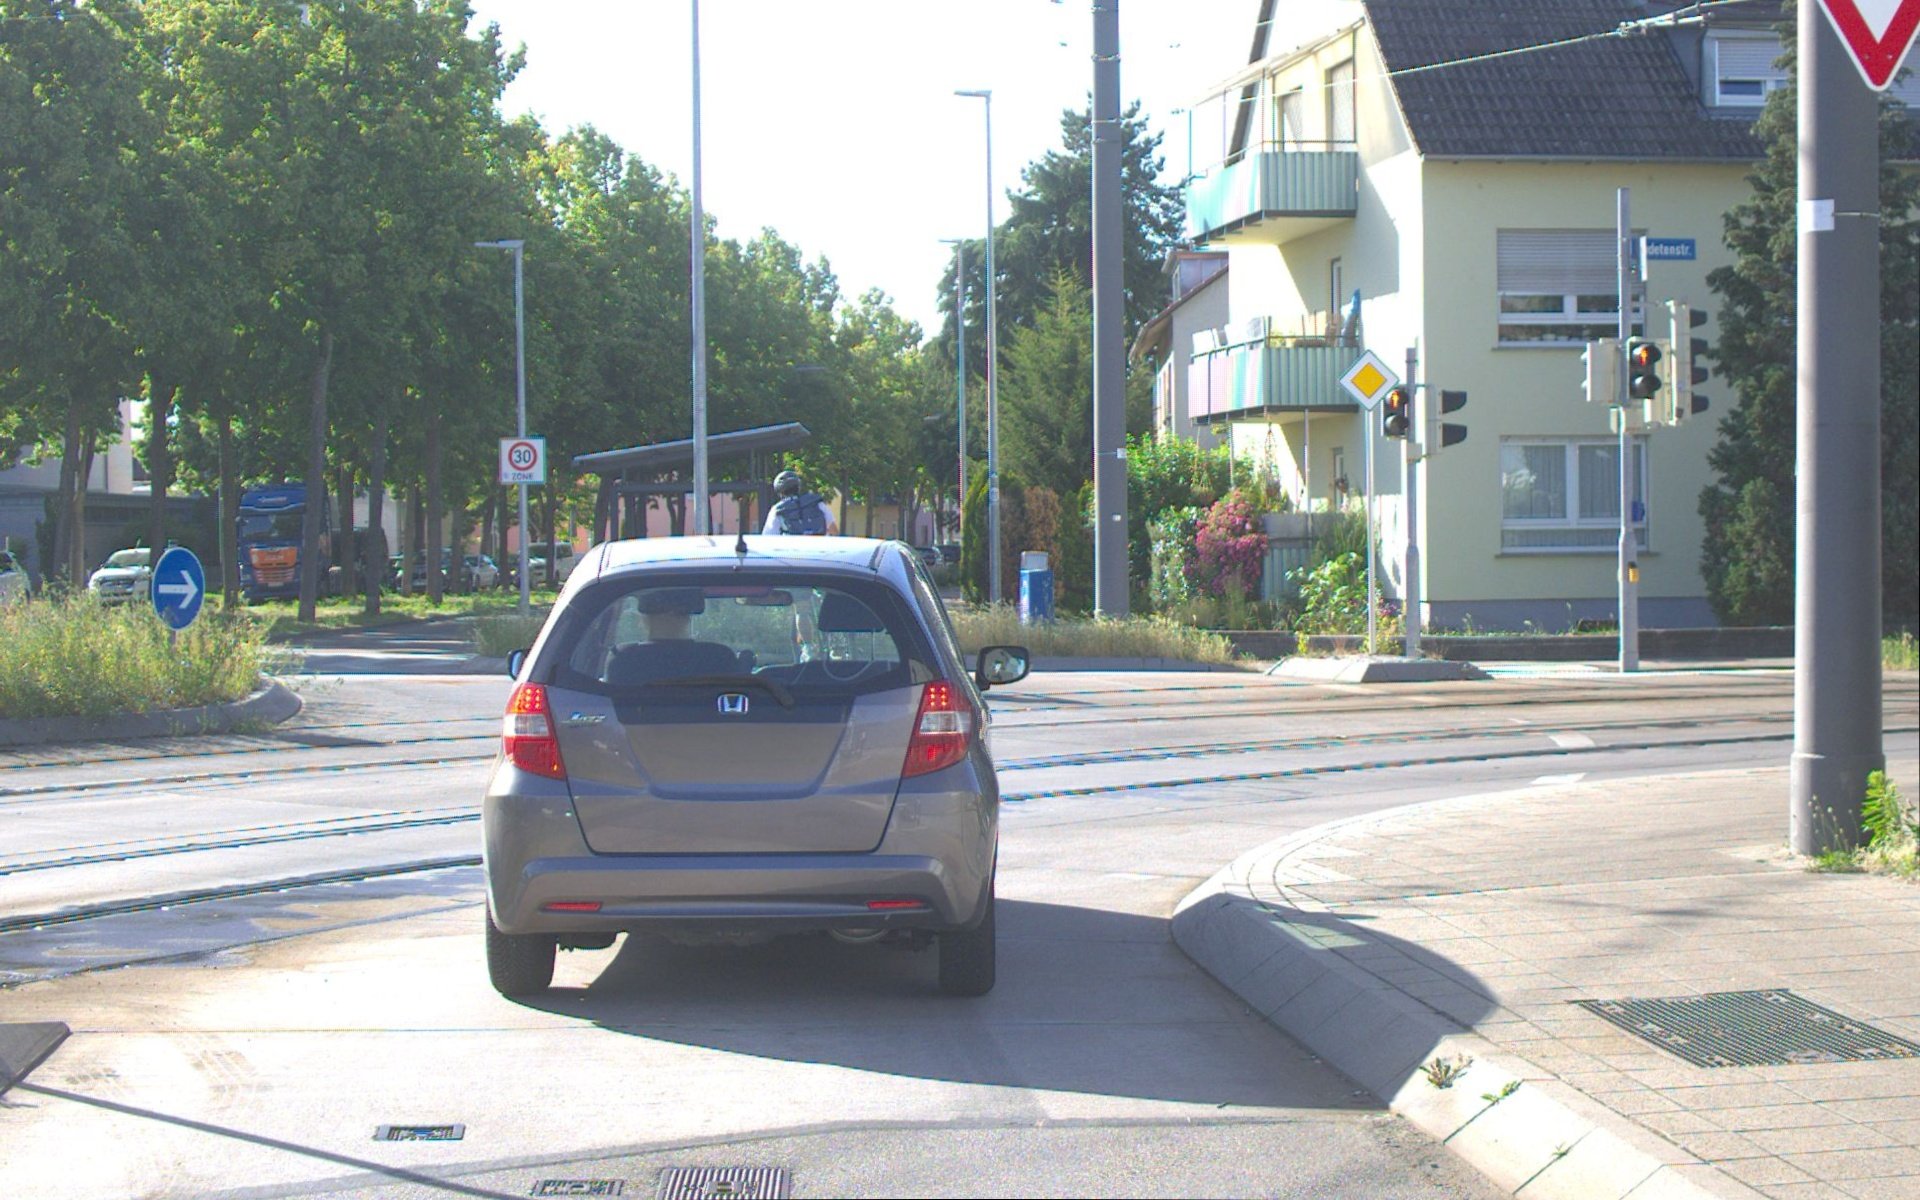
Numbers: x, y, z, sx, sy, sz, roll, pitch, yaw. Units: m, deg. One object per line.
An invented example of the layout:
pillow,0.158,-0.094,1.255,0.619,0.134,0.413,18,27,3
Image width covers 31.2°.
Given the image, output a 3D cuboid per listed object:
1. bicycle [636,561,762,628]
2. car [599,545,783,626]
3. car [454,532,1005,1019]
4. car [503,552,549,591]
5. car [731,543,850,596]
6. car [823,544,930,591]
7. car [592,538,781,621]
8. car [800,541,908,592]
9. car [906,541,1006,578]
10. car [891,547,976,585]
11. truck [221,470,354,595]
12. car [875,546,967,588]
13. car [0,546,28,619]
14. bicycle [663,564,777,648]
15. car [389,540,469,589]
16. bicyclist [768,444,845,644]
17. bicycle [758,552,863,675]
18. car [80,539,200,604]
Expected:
bicycle,-4.156,-0.096,54.811,1.972,1.024,0.696,1,1,-5
car,-5.309,-0.289,68.168,3.516,1.528,1.577,1,1,-1
car,-0.773,0.504,12.541,1.687,1.486,3.915,0,1,-2
car,-18.718,-1.256,148.394,1.647,1.642,3.569,1,1,-2
car,-5.072,-0.918,102.910,3.412,1.528,1.525,-1,1,3
car,-2.772,-1.068,113.526,3.478,1.488,1.552,1,1,-2
car,-5.264,-0.400,66.393,3.516,1.528,1.577,1,1,-1
car,-3.360,-1.057,108.763,3.359,1.528,1.523,1,1,-2
car,-0.142,-1.455,123.029,3.516,1.275,1.578,1,1,-2
car,-1.115,-1.425,143.596,3.516,1.528,1.578,1,1,-2
truck,-22.372,-2.266,114.822,3.069,3.979,8.009,1,1,-2
car,-1.516,-1.285,132.948,3.516,1.528,1.578,1,1,-2
car,-23.360,-0.423,80.581,1.993,1.694,4.219,1,1,-2
bicycle,-3.572,0.087,51.144,1.665,1.203,0.689,1,1,-5
car,-17.992,-1.207,116.625,1.831,1.575,4.440,1,1,2
bicyclist,-1.343,-0.486,30.016,0.603,1.708,0.544,-1,-3,-6
bicycle,-1.318,0.103,30.047,0.766,1.033,1.535,0,1,-8
car,-23.130,-0.814,97.139,1.993,1.766,5.060,1,1,2
